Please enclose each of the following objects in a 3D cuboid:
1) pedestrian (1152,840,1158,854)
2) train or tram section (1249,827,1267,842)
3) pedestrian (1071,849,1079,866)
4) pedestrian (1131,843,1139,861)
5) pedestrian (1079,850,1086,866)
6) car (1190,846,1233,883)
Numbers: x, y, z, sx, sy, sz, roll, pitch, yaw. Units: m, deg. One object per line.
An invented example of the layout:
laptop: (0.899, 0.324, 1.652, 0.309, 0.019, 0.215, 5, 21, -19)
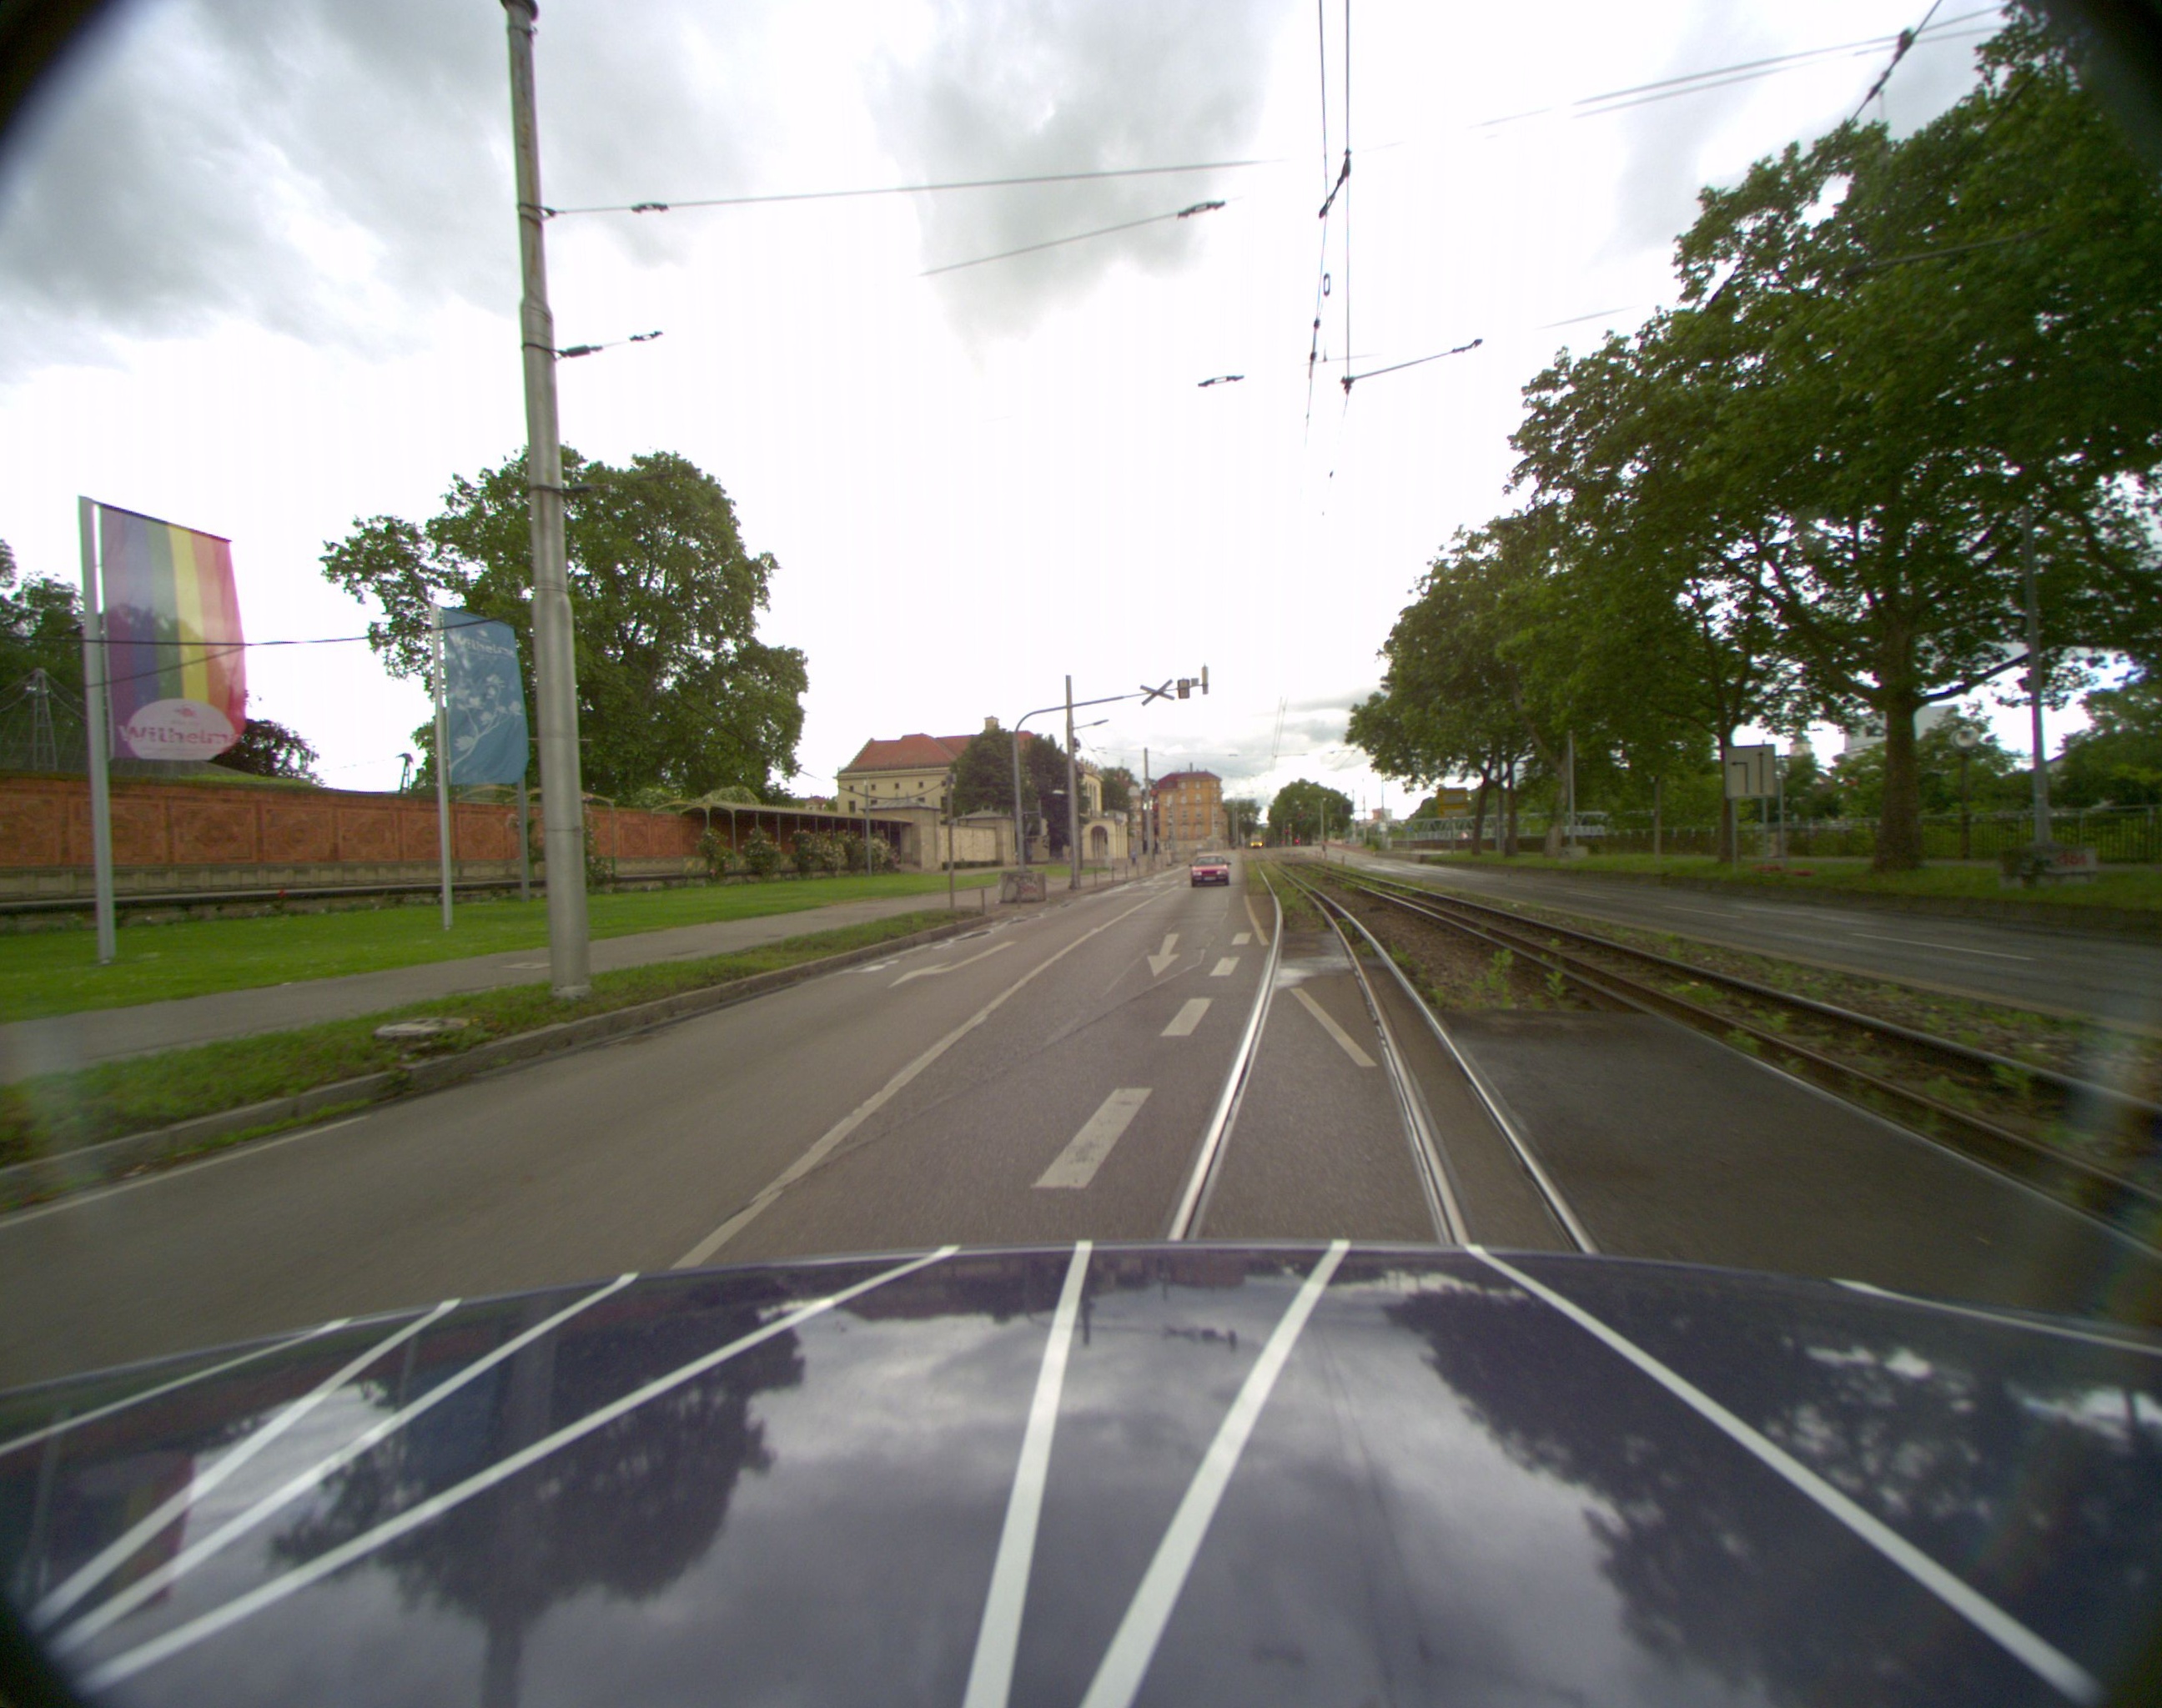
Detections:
pedestrian: (9.436, -0.868, 96.770, 0.671, 1.758, 0.937, -1, 1, 12)
train or tram section: (43.171, -4.771, 185.695, 3.736, 3.346, 17.566, -1, 2, 11)
pedestrian: (-0.637, 0.392, 82.329, 0.596, 1.782, 0.809, -1, 2, 12)
pedestrian: (5.508, -0.213, 77.959, 0.671, 1.758, 0.937, -1, 1, 12)
pedestrian: (0.137, 0.390, 82.147, 0.597, 1.689, 0.791, -1, 2, 12)
car: (5.949, 0.425, 34.436, 1.680, 1.433, 4.122, -4, 0, 12)
